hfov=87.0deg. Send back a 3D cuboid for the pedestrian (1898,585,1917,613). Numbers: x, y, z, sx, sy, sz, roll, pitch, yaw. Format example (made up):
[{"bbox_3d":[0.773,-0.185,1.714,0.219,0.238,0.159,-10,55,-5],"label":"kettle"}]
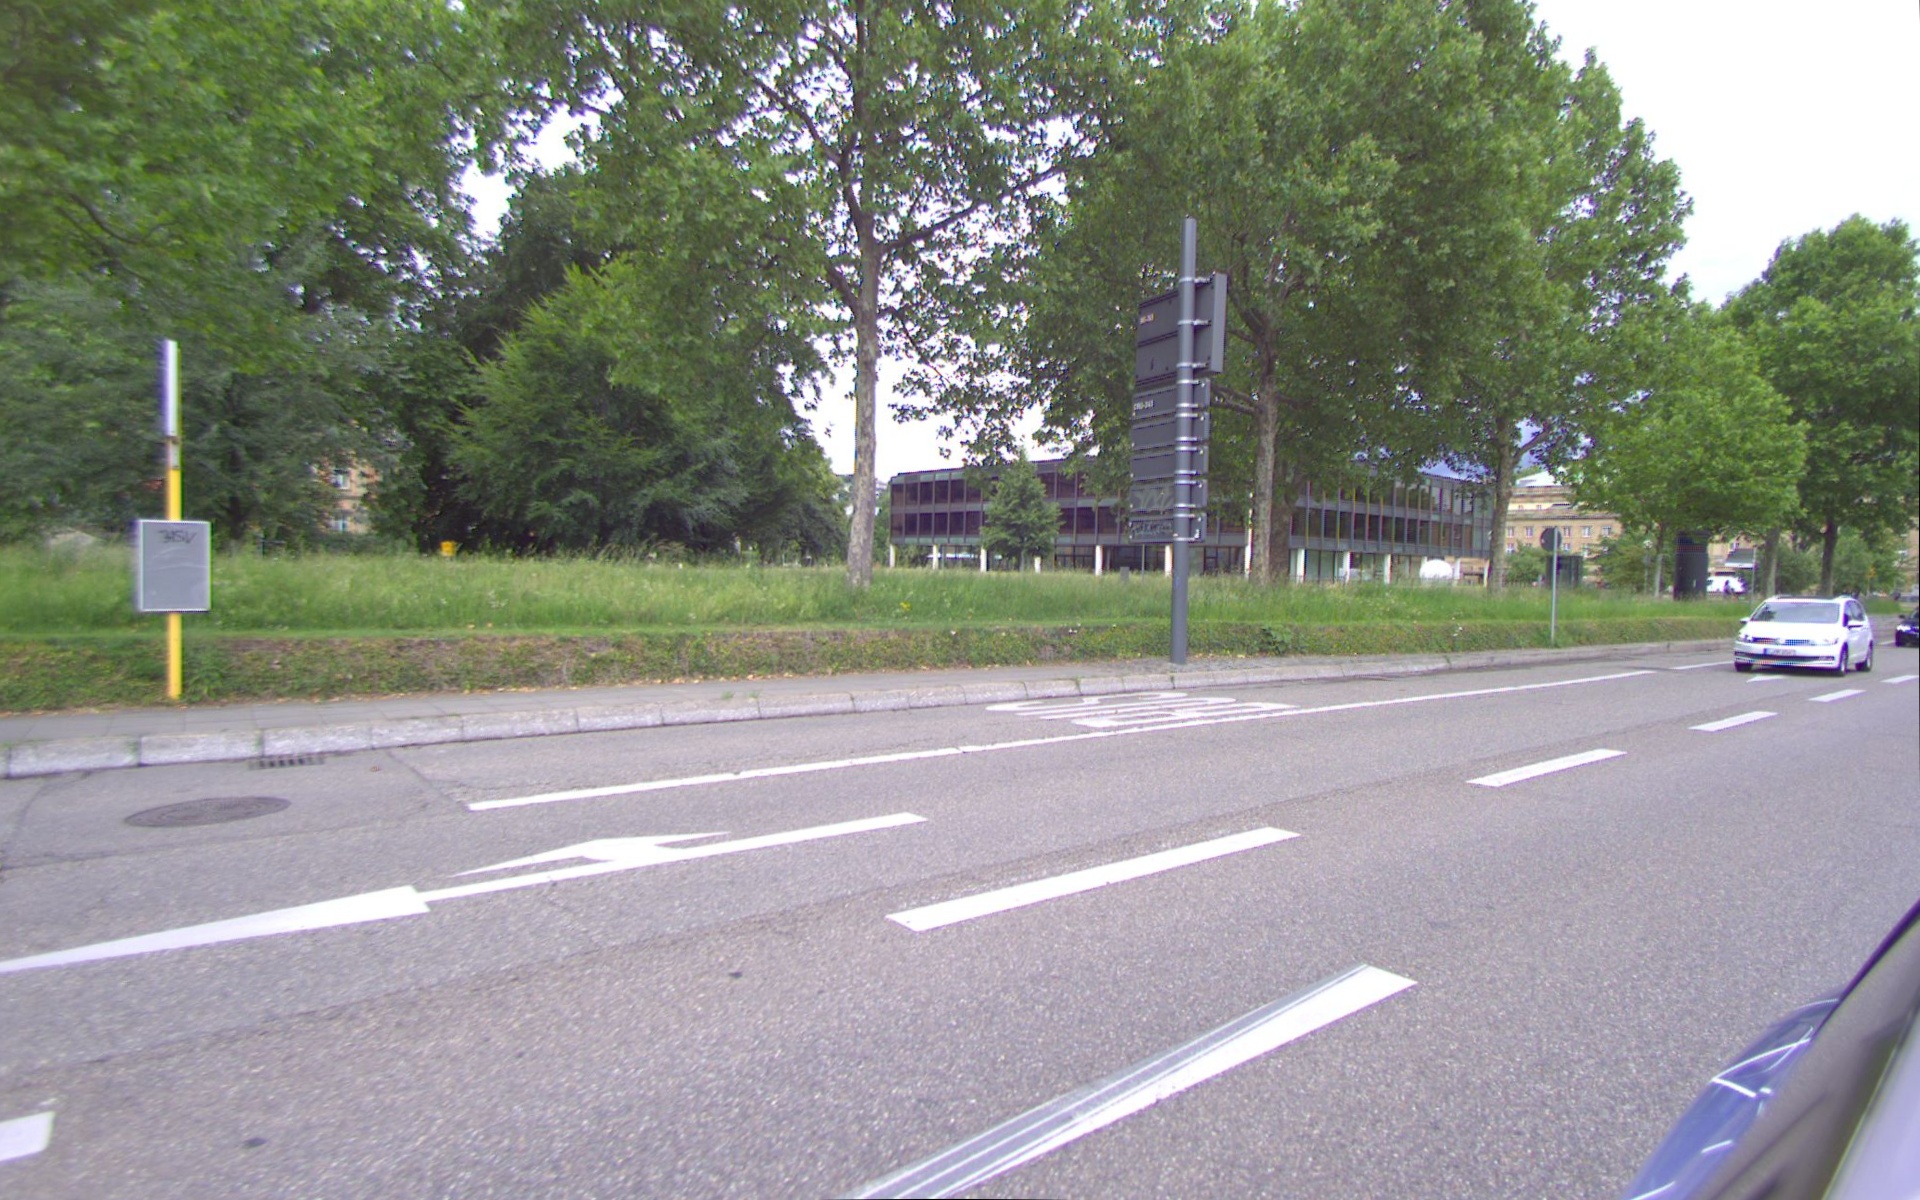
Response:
[{"bbox_3d":[69.464,-0.095,74.170,1.160,2.039,0.891,0,0,-40],"label":"pedestrian"}]

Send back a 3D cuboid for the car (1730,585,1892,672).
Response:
[{"bbox_3d":[18.294,0.538,21.693,4.229,1.660,1.997,0,1,-41],"label":"car"}]

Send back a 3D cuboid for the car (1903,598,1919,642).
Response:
[{"bbox_3d":[34.390,0.672,35.012,4.444,1.478,1.936,0,1,-38],"label":"car"}]
